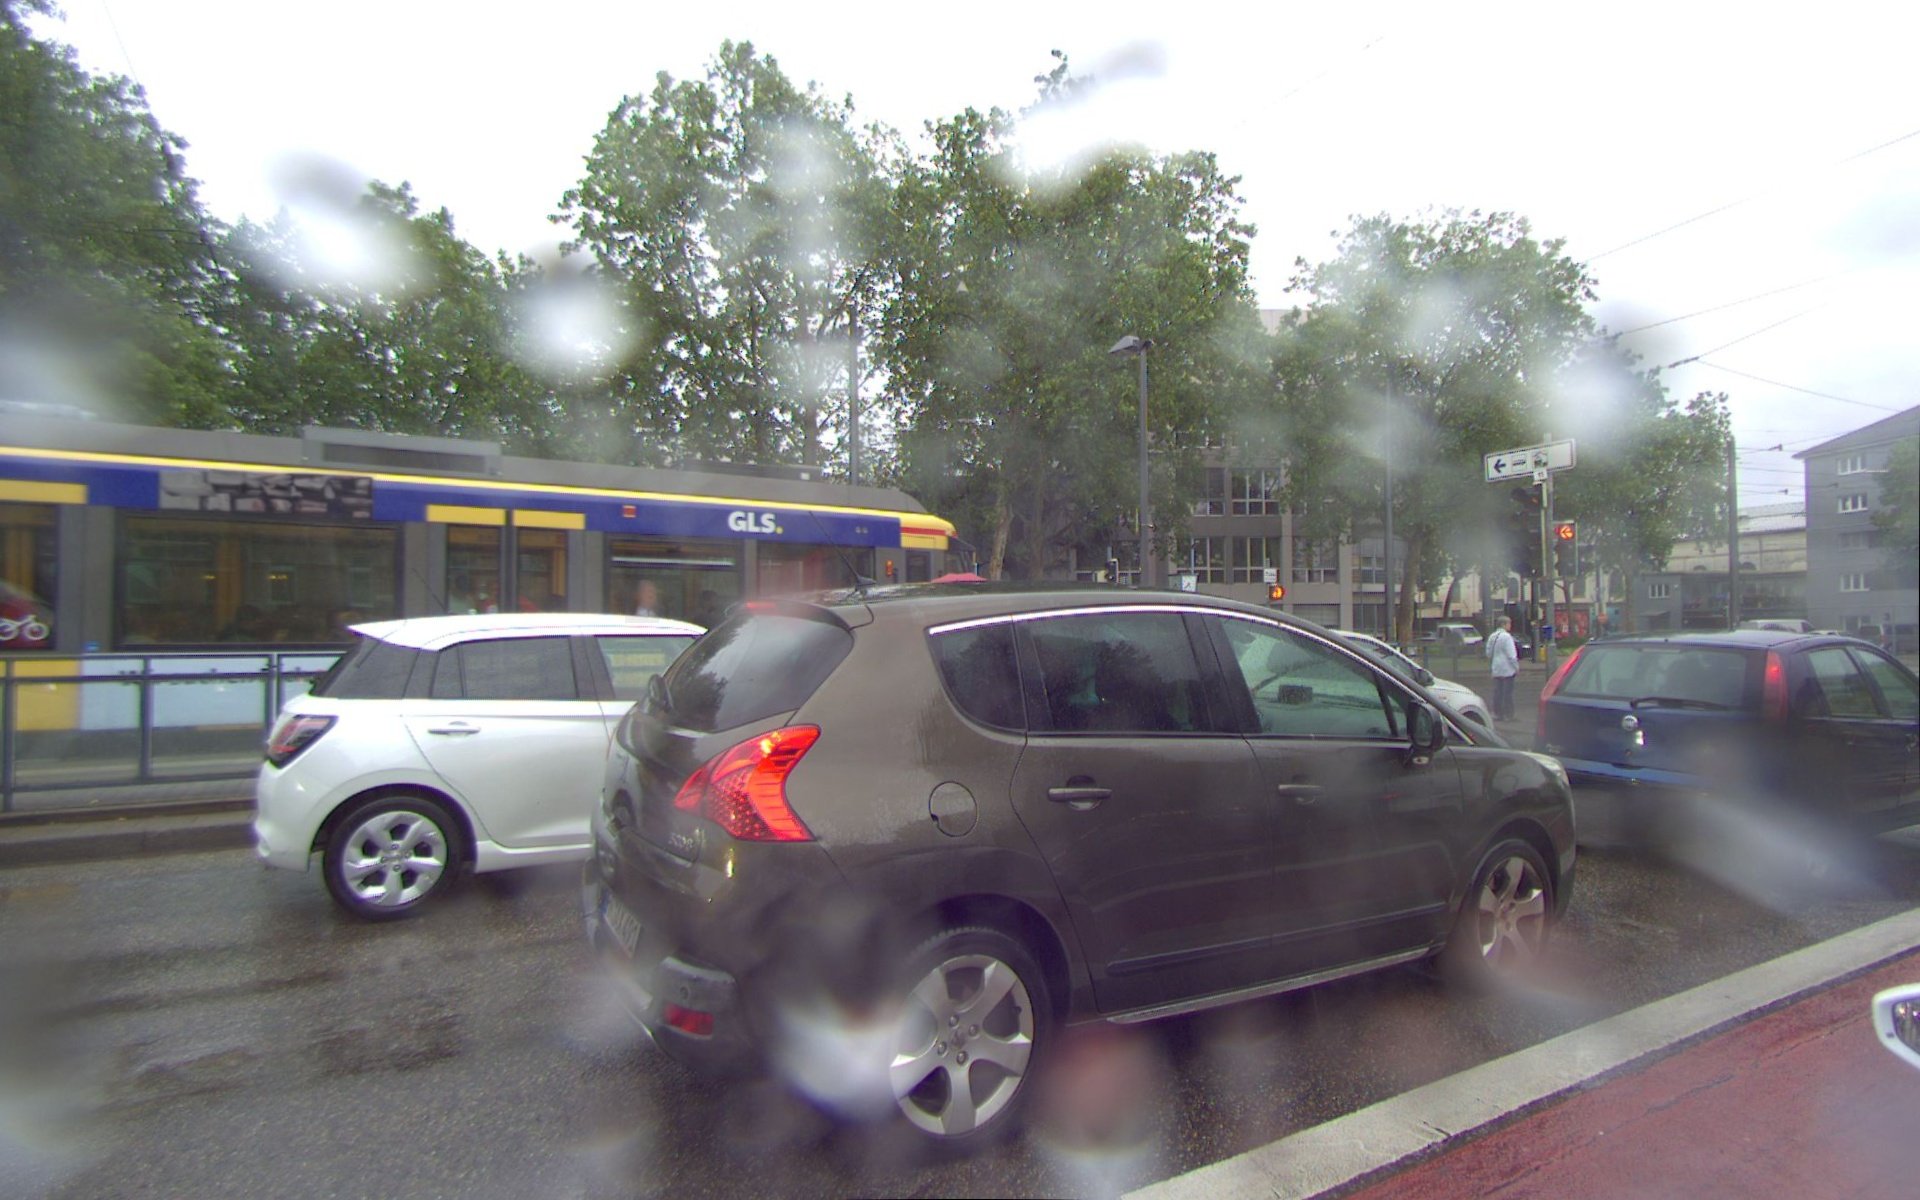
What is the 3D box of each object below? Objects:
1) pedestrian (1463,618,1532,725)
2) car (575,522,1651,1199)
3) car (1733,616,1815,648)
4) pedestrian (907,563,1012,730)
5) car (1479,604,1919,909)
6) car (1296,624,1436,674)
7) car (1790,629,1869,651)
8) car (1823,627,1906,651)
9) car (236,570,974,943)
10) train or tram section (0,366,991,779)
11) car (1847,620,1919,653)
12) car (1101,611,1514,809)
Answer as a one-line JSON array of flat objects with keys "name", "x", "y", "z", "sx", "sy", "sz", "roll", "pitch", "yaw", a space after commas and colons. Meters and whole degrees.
[{"name": "pedestrian", "x": 8.451, "y": 1.115, "z": 15.810, "sx": 0.731, "sy": 1.628, "sz": 0.623, "roll": 1, "pitch": 0, "yaw": -23}, {"name": "car", "x": 0.762, "y": 0.715, "z": 4.108, "sx": 4.124, "sy": 1.690, "sz": 1.825, "roll": 1, "pitch": -1, "yaw": -30}, {"name": "car", "x": 59.650, "y": 2.295, "z": 73.633, "sx": 4.698, "sy": 2.228, "sz": 1.998, "roll": 0, "pitch": 1, "yaw": -6}, {"name": "pedestrian", "x": -0.012, "y": 0.512, "z": 11.189, "sx": 0.888, "sy": 1.769, "sz": 0.762, "roll": 0, "pitch": -3, "yaw": -30}, {"name": "car", "x": 5.571, "y": 0.871, "z": 7.009, "sx": 3.776, "sy": 1.599, "sz": 1.719, "roll": 1, "pitch": -1, "yaw": -30}, {"name": "car", "x": 11.573, "y": 1.395, "z": 28.676, "sx": 3.466, "sy": 1.331, "sz": 1.594, "roll": 1, "pitch": 0, "yaw": -16}, {"name": "car", "x": 61.323, "y": 2.815, "z": 70.888, "sx": 3.922, "sy": 1.516, "sz": 1.960, "roll": 0, "pitch": 0, "yaw": -3}, {"name": "car", "x": 61.609, "y": 2.656, "z": 68.446, "sx": 3.922, "sy": 1.550, "sz": 1.999, "roll": 0, "pitch": 0, "yaw": -3}, {"name": "car", "x": -1.957, "y": 0.748, "z": 6.128, "sx": 3.791, "sy": 1.650, "sz": 1.637, "roll": 1, "pitch": -2, "yaw": -30}, {"name": "train or tram section", "x": -7.072, "y": -0.205, "z": 11.081, "sx": 15.326, "sy": 3.458, "sz": 3.522, "roll": 1, "pitch": 0, "yaw": -31}, {"name": "car", "x": 60.861, "y": 2.408, "z": 65.733, "sx": 3.923, "sy": 2.040, "sz": 1.999, "roll": 1, "pitch": 0, "yaw": -3}, {"name": "car", "x": 3.313, "y": 0.903, "z": 9.429, "sx": 3.737, "sy": 1.514, "sz": 1.621, "roll": 2, "pitch": -1, "yaw": -30}]
